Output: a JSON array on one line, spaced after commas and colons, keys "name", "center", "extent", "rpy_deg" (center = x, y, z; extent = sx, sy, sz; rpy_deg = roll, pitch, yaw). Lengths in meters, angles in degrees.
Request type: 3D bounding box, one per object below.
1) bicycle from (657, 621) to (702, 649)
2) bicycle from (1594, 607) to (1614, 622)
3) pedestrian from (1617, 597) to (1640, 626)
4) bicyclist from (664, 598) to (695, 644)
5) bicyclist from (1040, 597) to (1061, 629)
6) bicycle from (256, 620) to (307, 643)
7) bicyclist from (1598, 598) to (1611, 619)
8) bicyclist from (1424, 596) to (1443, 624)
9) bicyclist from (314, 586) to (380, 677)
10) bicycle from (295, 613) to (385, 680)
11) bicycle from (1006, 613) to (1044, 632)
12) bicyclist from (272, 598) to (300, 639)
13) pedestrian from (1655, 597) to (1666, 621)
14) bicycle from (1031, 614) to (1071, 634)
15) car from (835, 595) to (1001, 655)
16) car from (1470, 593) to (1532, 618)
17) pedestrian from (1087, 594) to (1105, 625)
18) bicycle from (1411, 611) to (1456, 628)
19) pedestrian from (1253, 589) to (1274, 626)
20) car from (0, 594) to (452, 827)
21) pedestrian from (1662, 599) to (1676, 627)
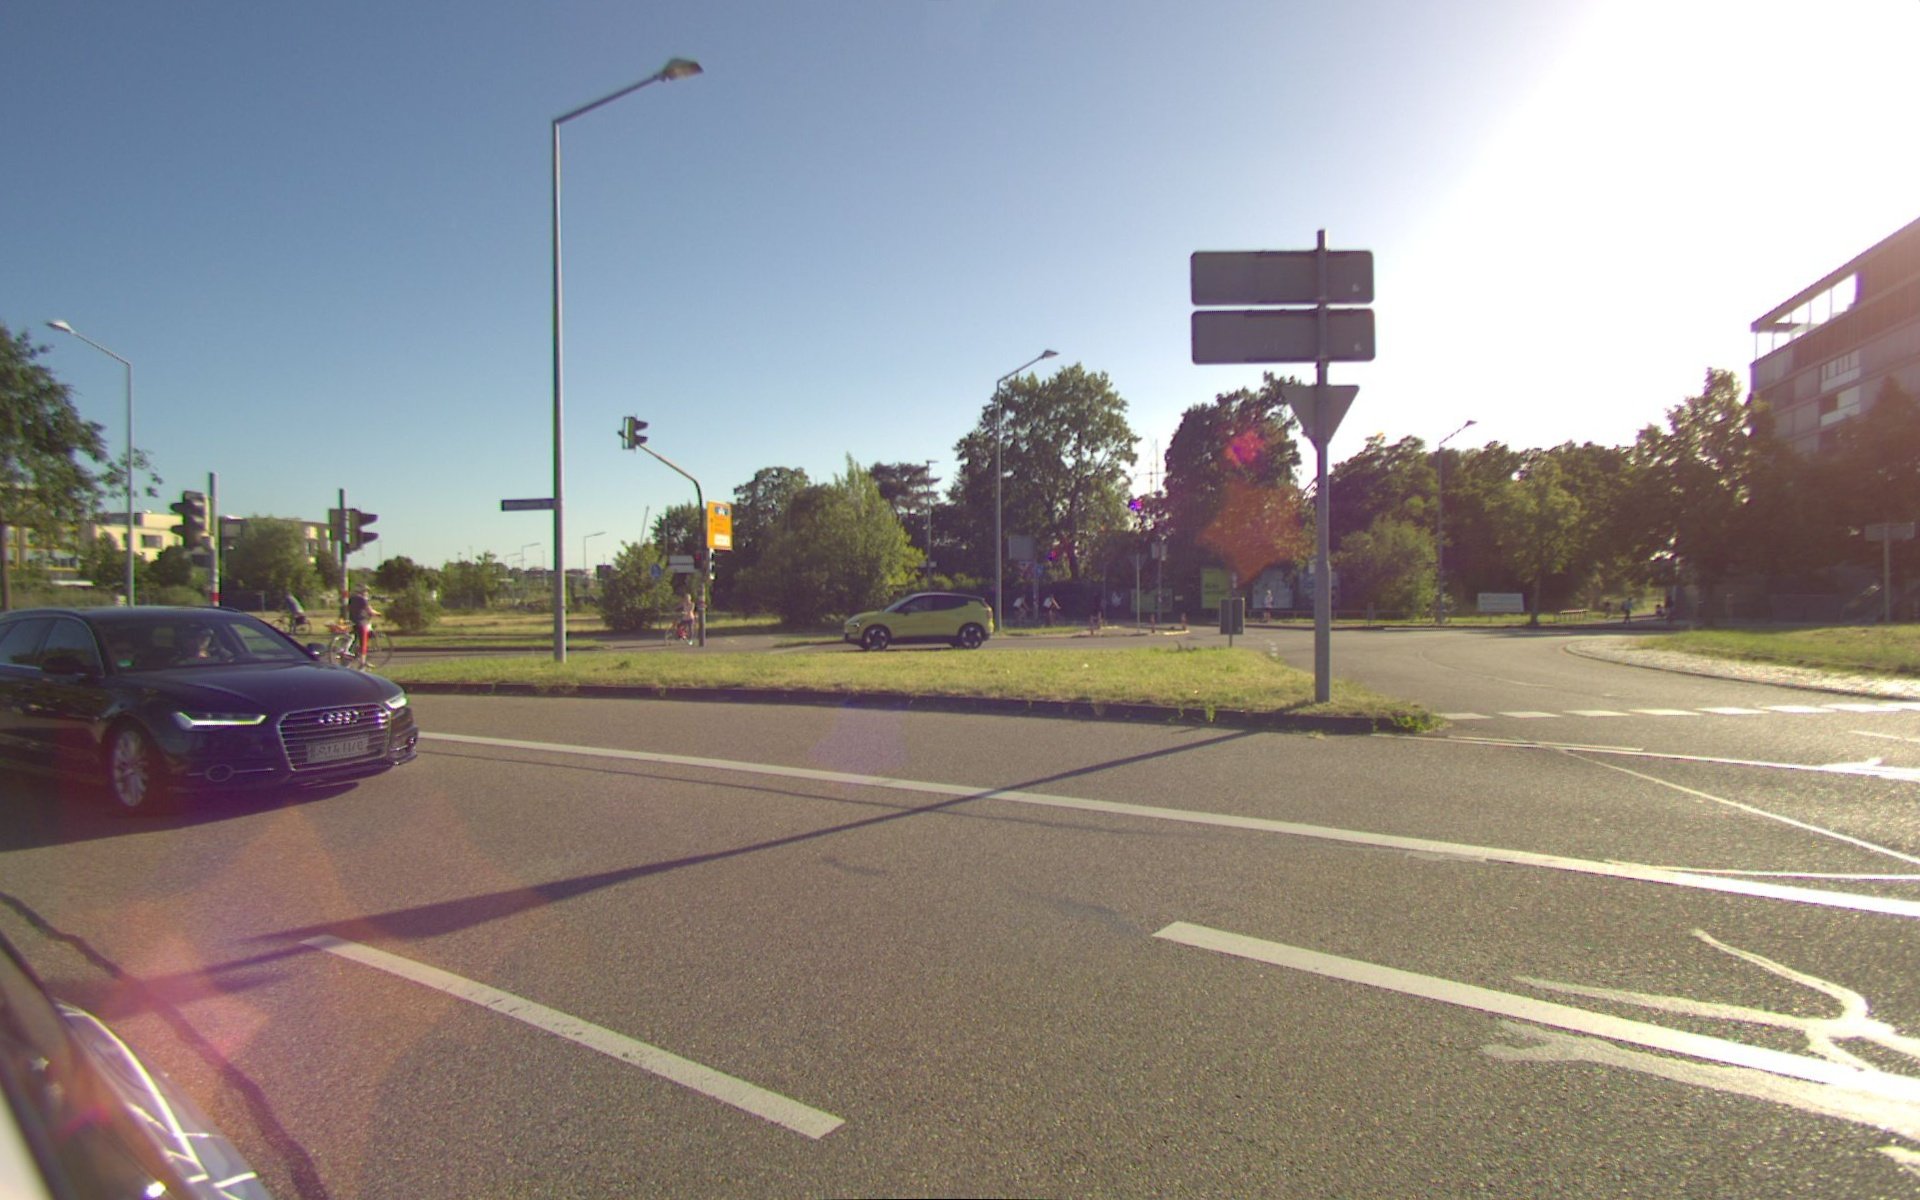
[{"name": "bicycle", "center": [-9.475, 1.175, 34.277], "extent": [0.611, 0.859, 1.880], "rpy_deg": [-1, 0, 14]}, {"name": "bicycle", "center": [45.074, 1.036, 70.807], "extent": [1.840, 1.019, 0.588], "rpy_deg": [1, 0, -39]}, {"name": "pedestrian", "center": [38.501, 0.666, 58.296], "extent": [0.753, 1.641, 0.883], "rpy_deg": [-1, 0, 10]}, {"name": "bicyclist", "center": [-9.488, 0.707, 34.227], "extent": [0.611, 1.528, 0.921], "rpy_deg": [-1, 0, 15]}, {"name": "bicyclist", "center": [4.128, 0.590, 46.212], "extent": [0.707, 1.403, 0.619], "rpy_deg": [0, 0, -36]}, {"name": "bicycle", "center": [-26.077, 1.221, 38.870], "extent": [1.870, 0.859, 0.489], "rpy_deg": [-1, 0, 13]}, {"name": "bicyclist", "center": [45.089, 0.609, 70.802], "extent": [0.744, 1.479, 0.588], "rpy_deg": [1, 0, -39]}, {"name": "bicyclist", "center": [27.473, 0.573, 58.699], "extent": [0.824, 1.592, 0.661], "rpy_deg": [0, 0, 4]}, {"name": "bicyclist", "center": [-11.617, 0.572, 19.195], "extent": [0.694, 1.675, 0.943], "rpy_deg": [1, 1, -1]}, {"name": "bicycle", "center": [-11.605, 0.846, 18.997], "extent": [0.694, 1.137, 1.656], "rpy_deg": [1, 1, -1]}, {"name": "bicycle", "center": [3.075, 1.048, 47.803], "extent": [1.858, 0.859, 0.619], "rpy_deg": [-1, 0, -36]}, {"name": "bicyclist", "center": [-25.859, 0.713, 38.813], "extent": [0.843, 1.576, 0.431], "rpy_deg": [-1, 0, 13]}, {"name": "pedestrian", "center": [50.339, 0.625, 72.744], "extent": [0.546, 1.701, 0.505], "rpy_deg": [0, 0, -43]}, {"name": "bicycle", "center": [4.148, 1.069, 46.193], "extent": [1.858, 0.859, 0.619], "rpy_deg": [-1, 0, -36]}, {"name": "car", "center": [-1.203, 0.658, 28.097], "extent": [4.252, 1.553, 2.015], "rpy_deg": [-1, 0, -15]}, {"name": "car", "center": [40.614, 0.412, 76.035], "extent": [3.705, 1.819, 1.832], "rpy_deg": [-1, 0, 12]}, {"name": "pedestrian", "center": [9.166, 0.630, 68.077], "extent": [0.887, 2.029, 0.820], "rpy_deg": [1, 0, -39]}, {"name": "bicycle", "center": [27.448, 1.128, 58.711], "extent": [2.234, 0.995, 0.661], "rpy_deg": [0, 0, 5]}, {"name": "pedestrian", "center": [16.969, 0.419, 56.588], "extent": [0.929, 2.021, 0.590], "rpy_deg": [-1, 0, -10]}, {"name": "car", "center": [-6.684, 0.735, 8.322], "extent": [4.988, 1.454, 1.783], "rpy_deg": [-1, 1, 25]}, {"name": "pedestrian", "center": [43.738, 0.793, 62.435], "extent": [0.677, 1.696, 0.879], "rpy_deg": [-1, -1, 33]}]
